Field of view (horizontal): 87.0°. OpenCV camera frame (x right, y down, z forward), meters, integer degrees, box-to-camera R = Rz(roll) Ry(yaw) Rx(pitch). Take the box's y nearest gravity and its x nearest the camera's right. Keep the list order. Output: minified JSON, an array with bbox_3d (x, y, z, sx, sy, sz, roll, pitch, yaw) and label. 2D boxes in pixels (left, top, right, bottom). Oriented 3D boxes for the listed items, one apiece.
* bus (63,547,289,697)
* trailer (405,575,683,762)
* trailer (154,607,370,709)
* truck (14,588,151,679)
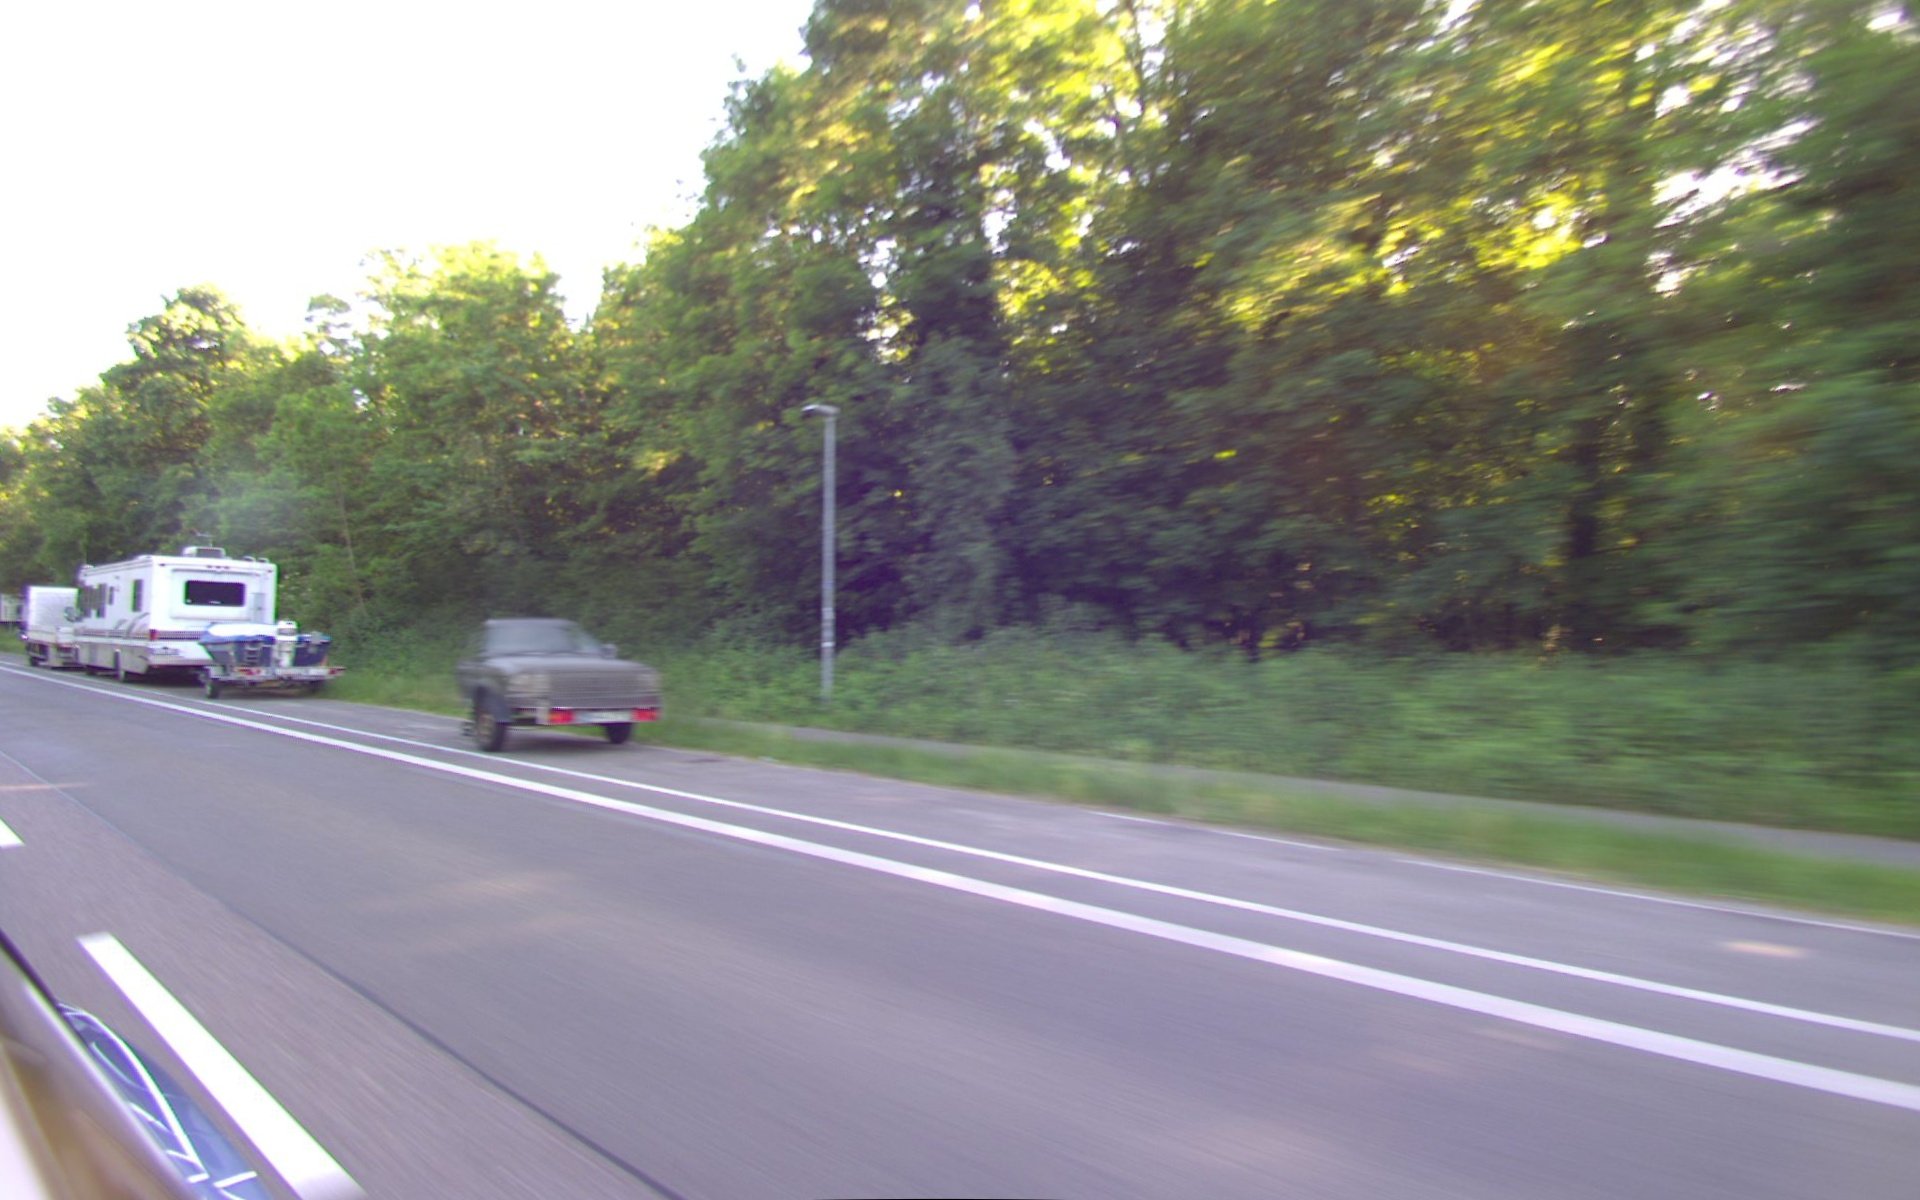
[{"bbox_3d":[-21.953,0.563,27.967,11.194,3.456,2.799,-1,-1,41],"label":"bus"},{"bbox_3d":[-5.362,0.833,12.888,3.559,2.029,1.833,-2,-5,42],"label":"trailer"},{"bbox_3d":[-15.389,1.181,22.134,6.260,1.929,2.403,-2,-1,41],"label":"trailer"},{"bbox_3d":[-30.607,1.142,35.154,8.419,2.845,2.457,-2,-1,41],"label":"truck"}]
